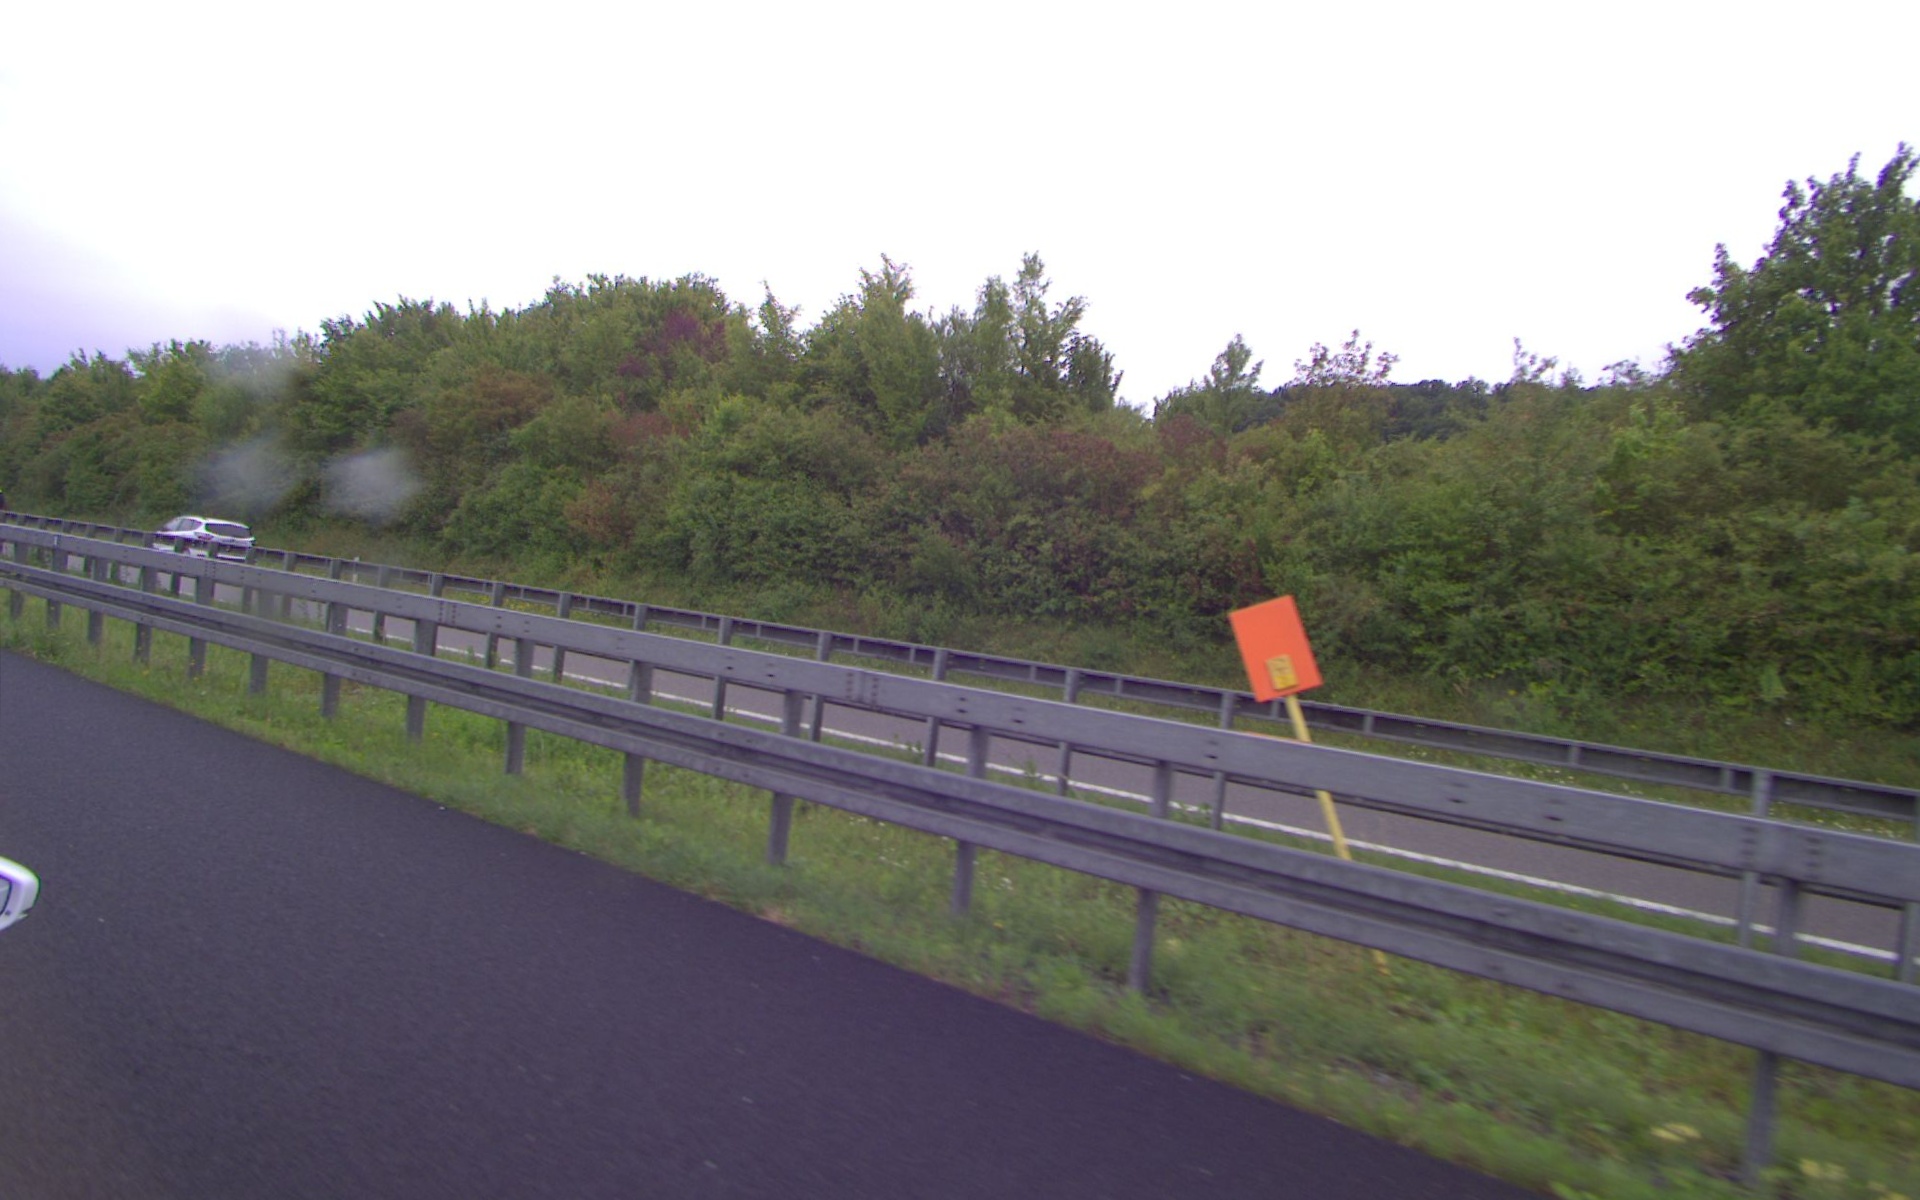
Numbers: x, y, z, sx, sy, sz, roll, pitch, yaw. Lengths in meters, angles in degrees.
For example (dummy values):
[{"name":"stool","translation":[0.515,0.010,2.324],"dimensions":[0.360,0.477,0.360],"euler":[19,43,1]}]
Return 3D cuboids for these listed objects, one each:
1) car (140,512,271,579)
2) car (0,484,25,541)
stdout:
[{"name":"car","translation":[-24.083,-1.742,32.068],"dimensions":[4.077,1.632,1.899],"euler":[7,-1,32]},{"name":"car","translation":[-34.235,-3.226,34.415],"dimensions":[4.203,1.836,2.012],"euler":[7,-1,30]}]
